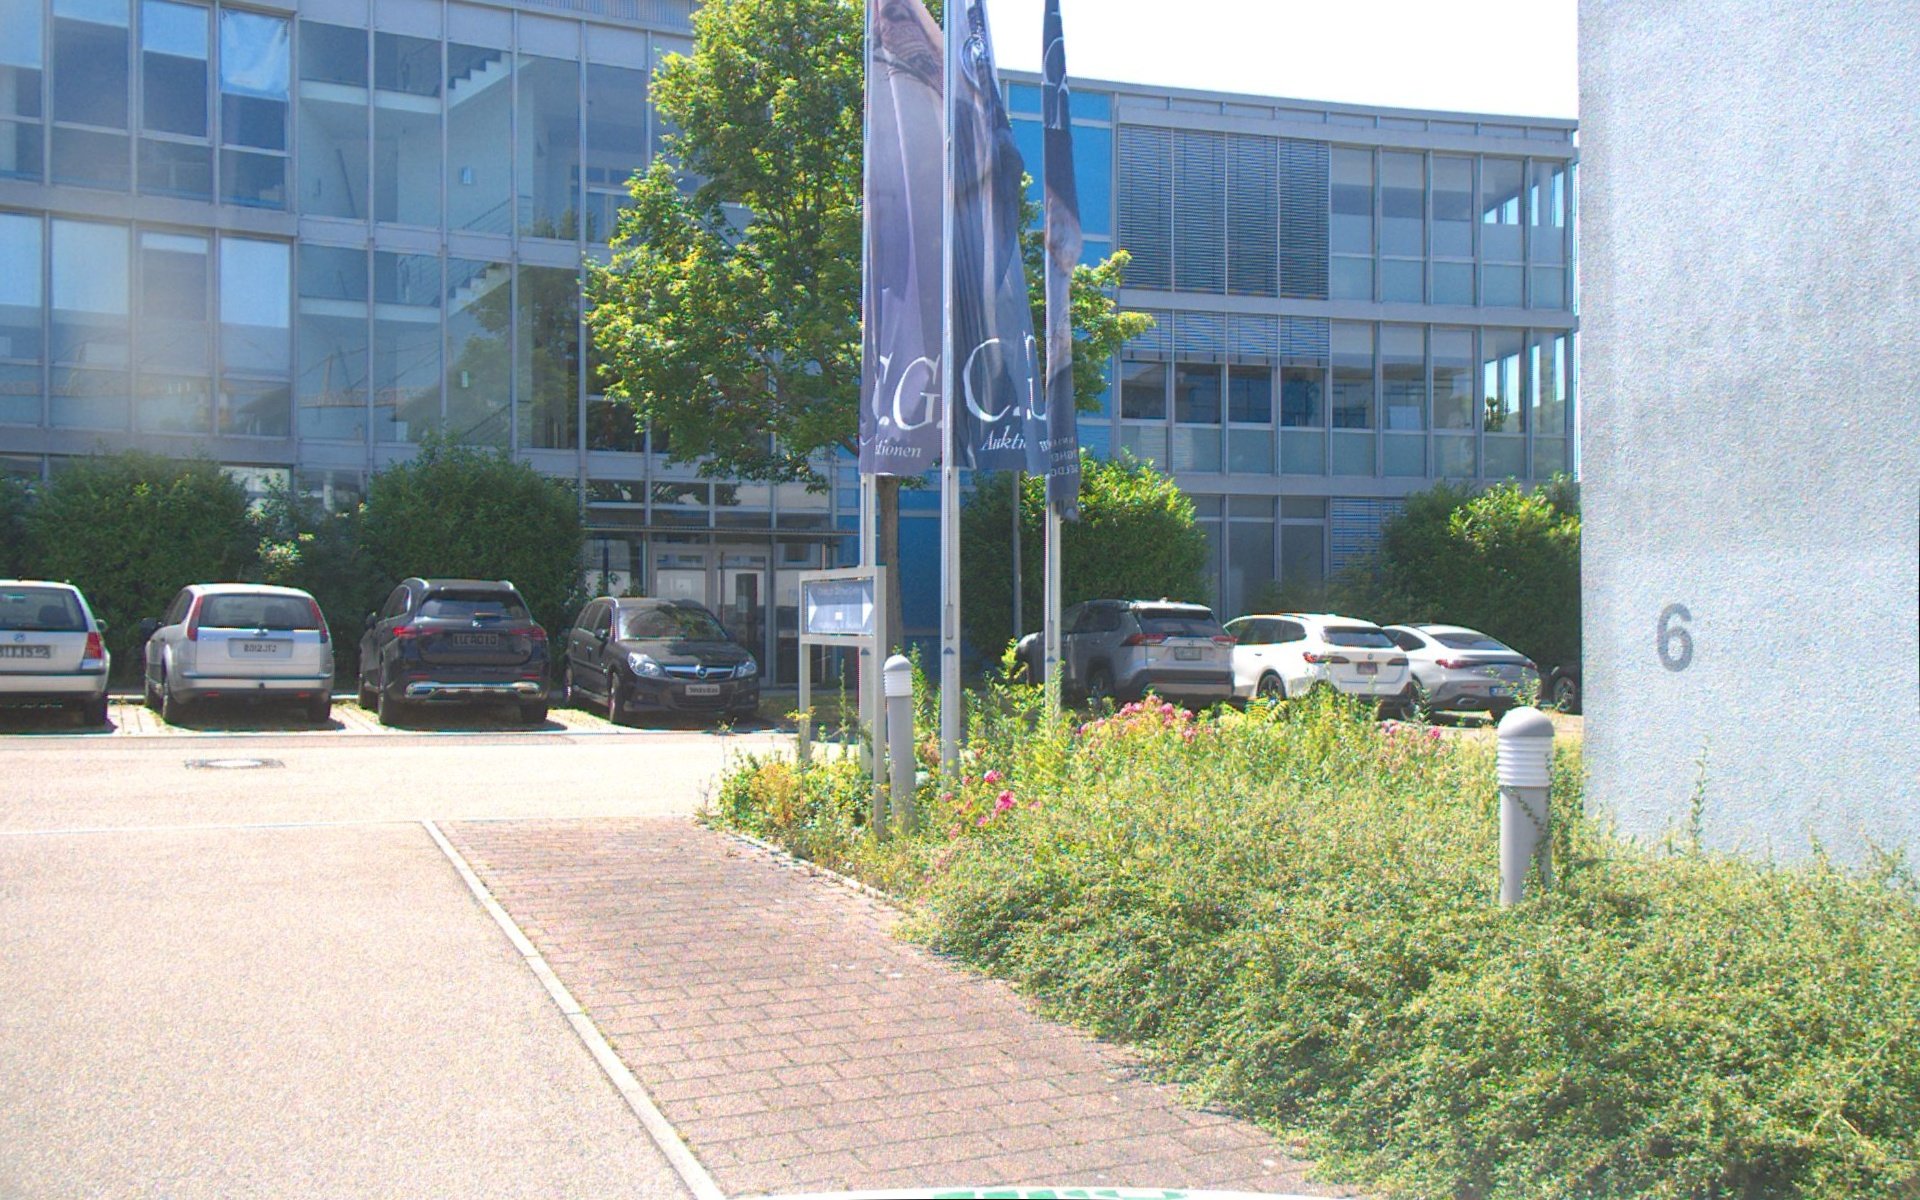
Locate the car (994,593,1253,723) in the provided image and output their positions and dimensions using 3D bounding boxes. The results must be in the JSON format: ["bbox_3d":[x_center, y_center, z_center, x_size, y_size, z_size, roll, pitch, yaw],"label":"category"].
[{"bbox_3d":[2.242,0.754,23.890,1.796,1.648,4.305,1,1,-25],"label":"car"}]

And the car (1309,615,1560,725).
[{"bbox_3d":[7.195,1.018,25.578,1.707,1.454,4.321,2,0,-16],"label":"car"}]

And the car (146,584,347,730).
[{"bbox_3d":[-8.329,0.597,19.150,1.746,1.474,3.618,2,0,-29],"label":"car"}]

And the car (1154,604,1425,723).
[{"bbox_3d":[4.751,0.888,24.500,1.714,1.518,4.305,2,0,-25],"label":"car"}]

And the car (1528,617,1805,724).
[{"bbox_3d":[11.413,1.094,27.104,1.707,1.472,4.529,2,0,-15],"label":"car"}]

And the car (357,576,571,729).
[{"bbox_3d":[-6.082,0.566,19.983,1.902,1.639,3.955,2,0,-25],"label":"car"}]

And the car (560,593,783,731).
[{"bbox_3d":[-3.752,0.694,20.909,1.747,1.508,4.225,1,1,-25],"label":"car"}]

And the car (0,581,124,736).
[{"bbox_3d":[-9.995,0.553,17.685,1.713,1.474,3.618,2,0,-29],"label":"car"}]
